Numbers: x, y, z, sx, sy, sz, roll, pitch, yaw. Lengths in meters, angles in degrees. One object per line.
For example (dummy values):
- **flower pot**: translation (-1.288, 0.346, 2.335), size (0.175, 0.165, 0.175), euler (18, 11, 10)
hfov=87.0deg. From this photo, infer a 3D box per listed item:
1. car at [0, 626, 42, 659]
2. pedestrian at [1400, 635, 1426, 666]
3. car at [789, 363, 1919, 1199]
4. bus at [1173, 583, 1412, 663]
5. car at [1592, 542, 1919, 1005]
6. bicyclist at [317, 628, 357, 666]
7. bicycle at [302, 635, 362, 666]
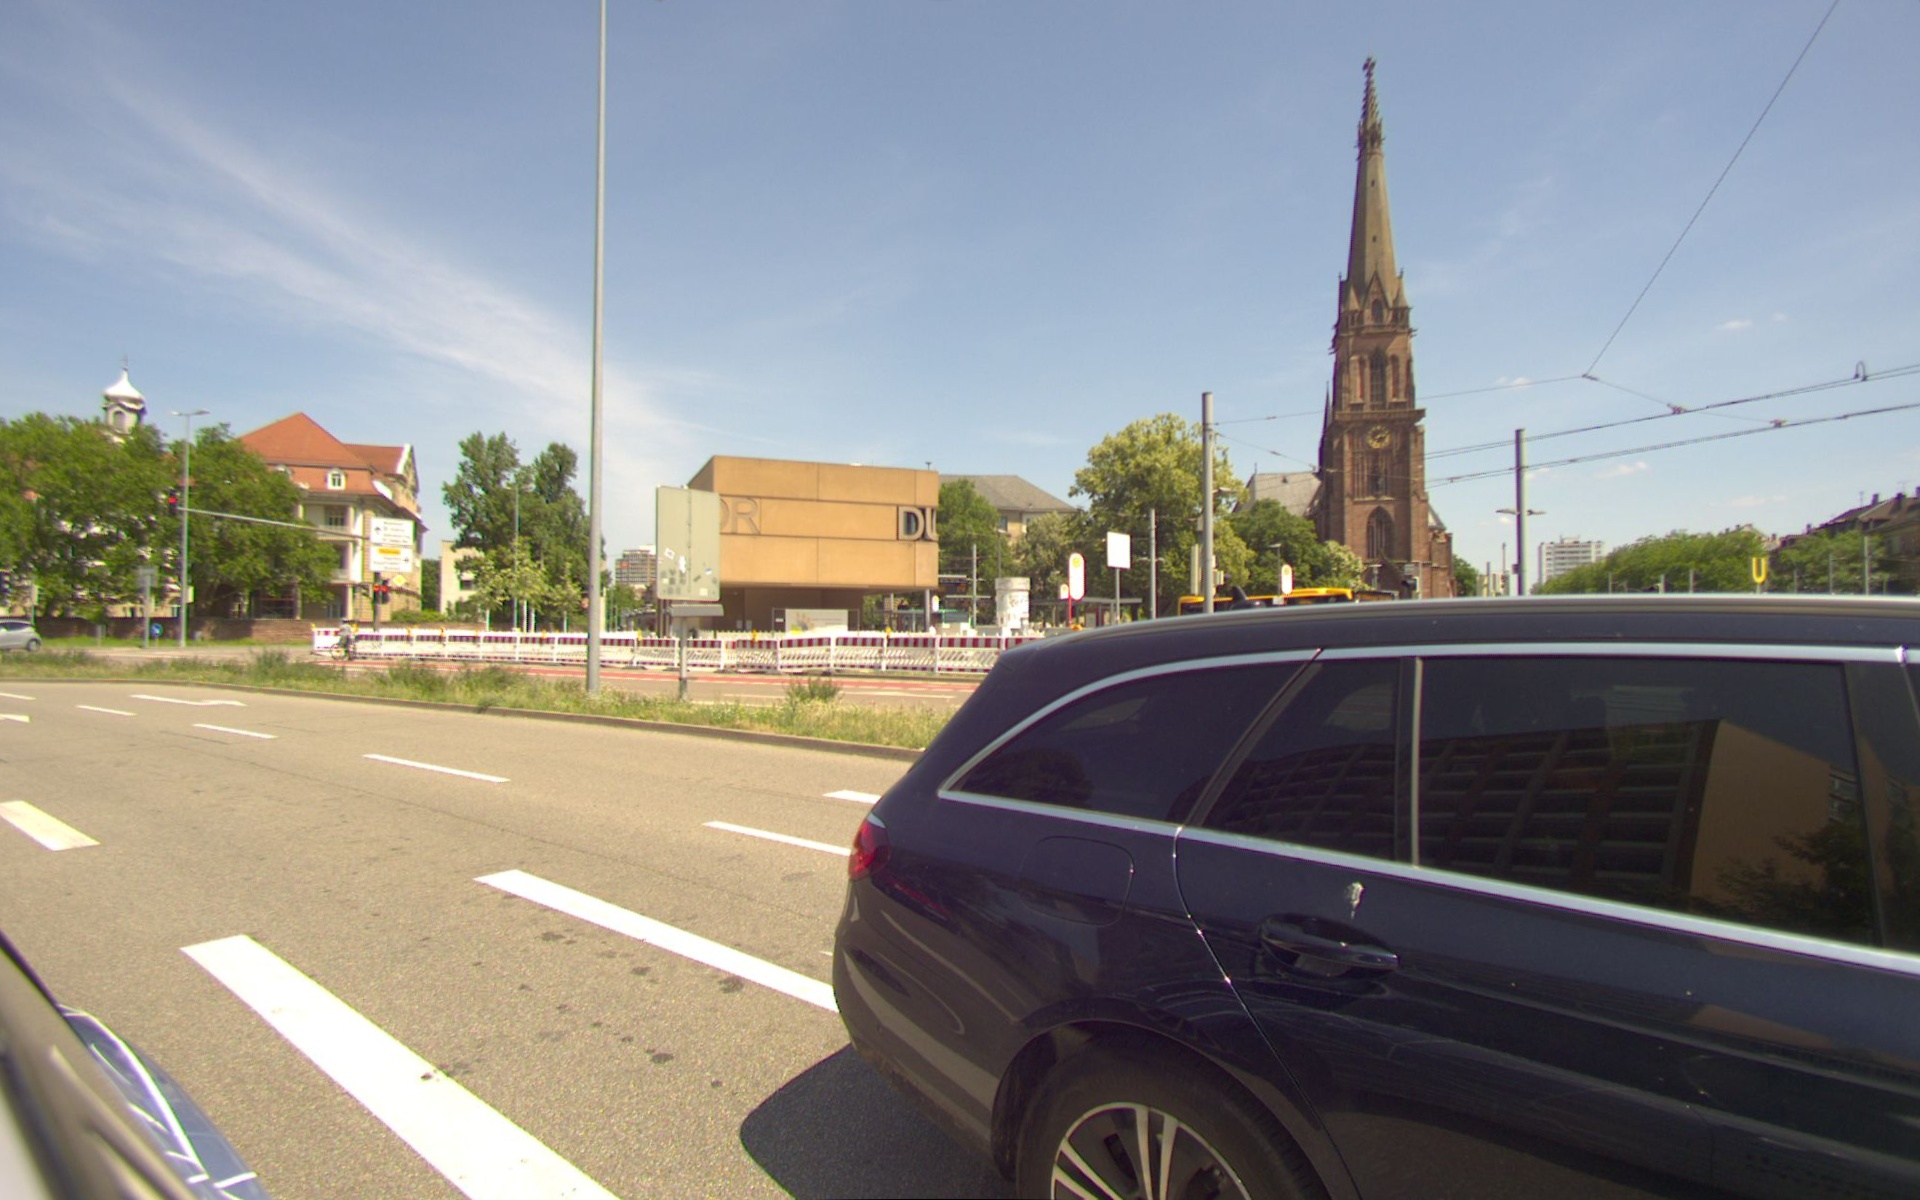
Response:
- **car**: translation (-44.116, 1.929, 45.669), size (1.772, 1.475, 3.627), euler (0, -2, 10)
- **pedestrian**: translation (20.344, 2.263, 45.465), size (0.518, 1.344, 1.001), euler (1, -2, -17)
- **car**: translation (1.975, 0.556, 1.456), size (4.803, 1.653, 1.778), euler (-2, -1, 42)
- **bus**: translation (14.168, 1.097, 45.020), size (2.807, 3.039, 12.259), euler (1, -2, -22)
- **car**: translation (4.549, 0.593, 3.522), size (3.736, 1.588, 1.725), euler (-2, -3, 42)
- **bicyclist**: translation (-23.327, 1.741, 37.888), size (1.432, 1.366, 0.581), euler (-1, 0, 26)
- **bicycle**: translation (-23.438, 1.879, 37.792), size (2.220, 1.080, 0.871), euler (-1, 0, 26)
